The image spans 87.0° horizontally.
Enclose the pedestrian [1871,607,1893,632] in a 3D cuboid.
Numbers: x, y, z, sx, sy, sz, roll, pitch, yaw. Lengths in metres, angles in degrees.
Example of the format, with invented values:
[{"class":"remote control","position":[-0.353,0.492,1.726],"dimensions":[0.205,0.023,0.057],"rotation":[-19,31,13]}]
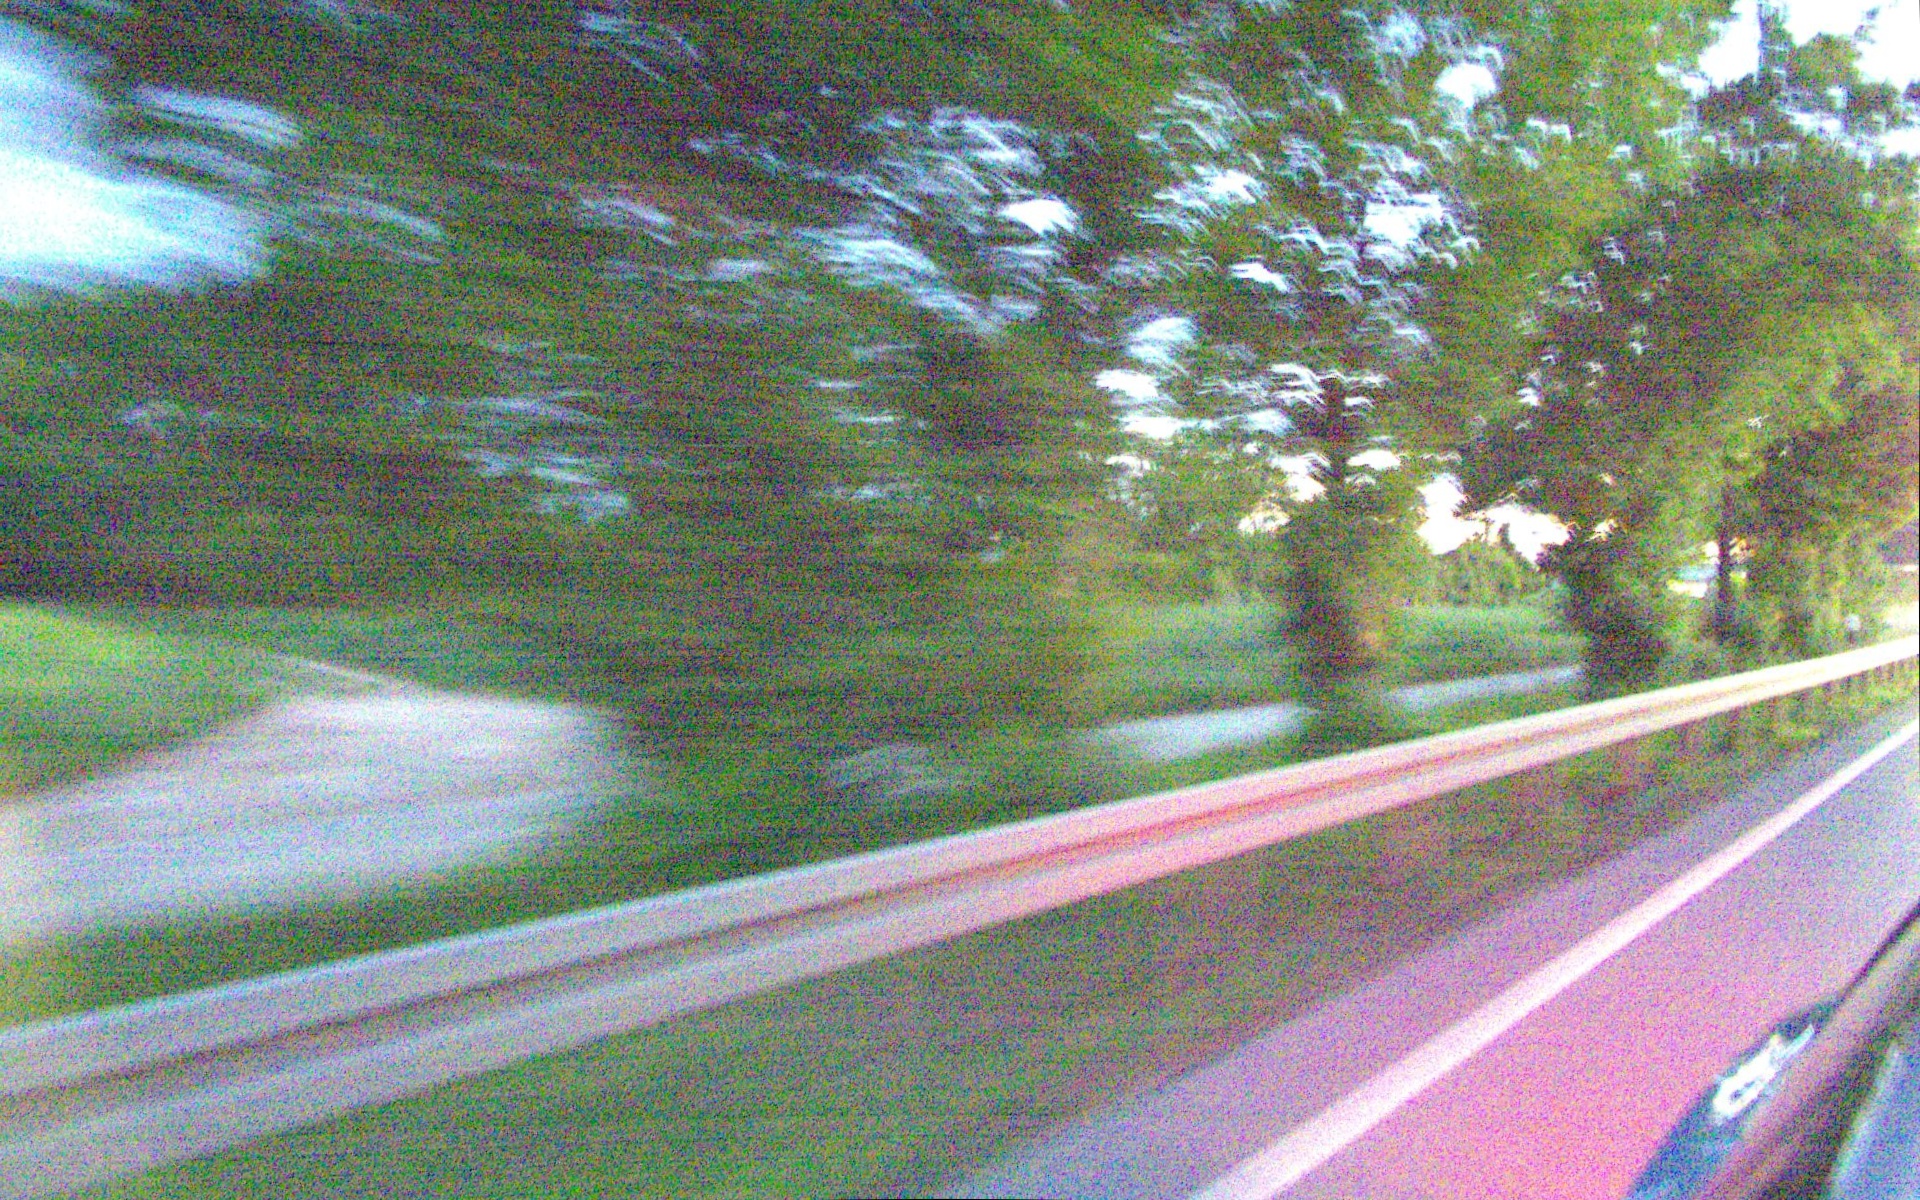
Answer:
[{"class":"pedestrian","position":[62.269,1.318,68.343],"dimensions":[1.100,1.664,1.063],"rotation":[0,0,-44]}]
